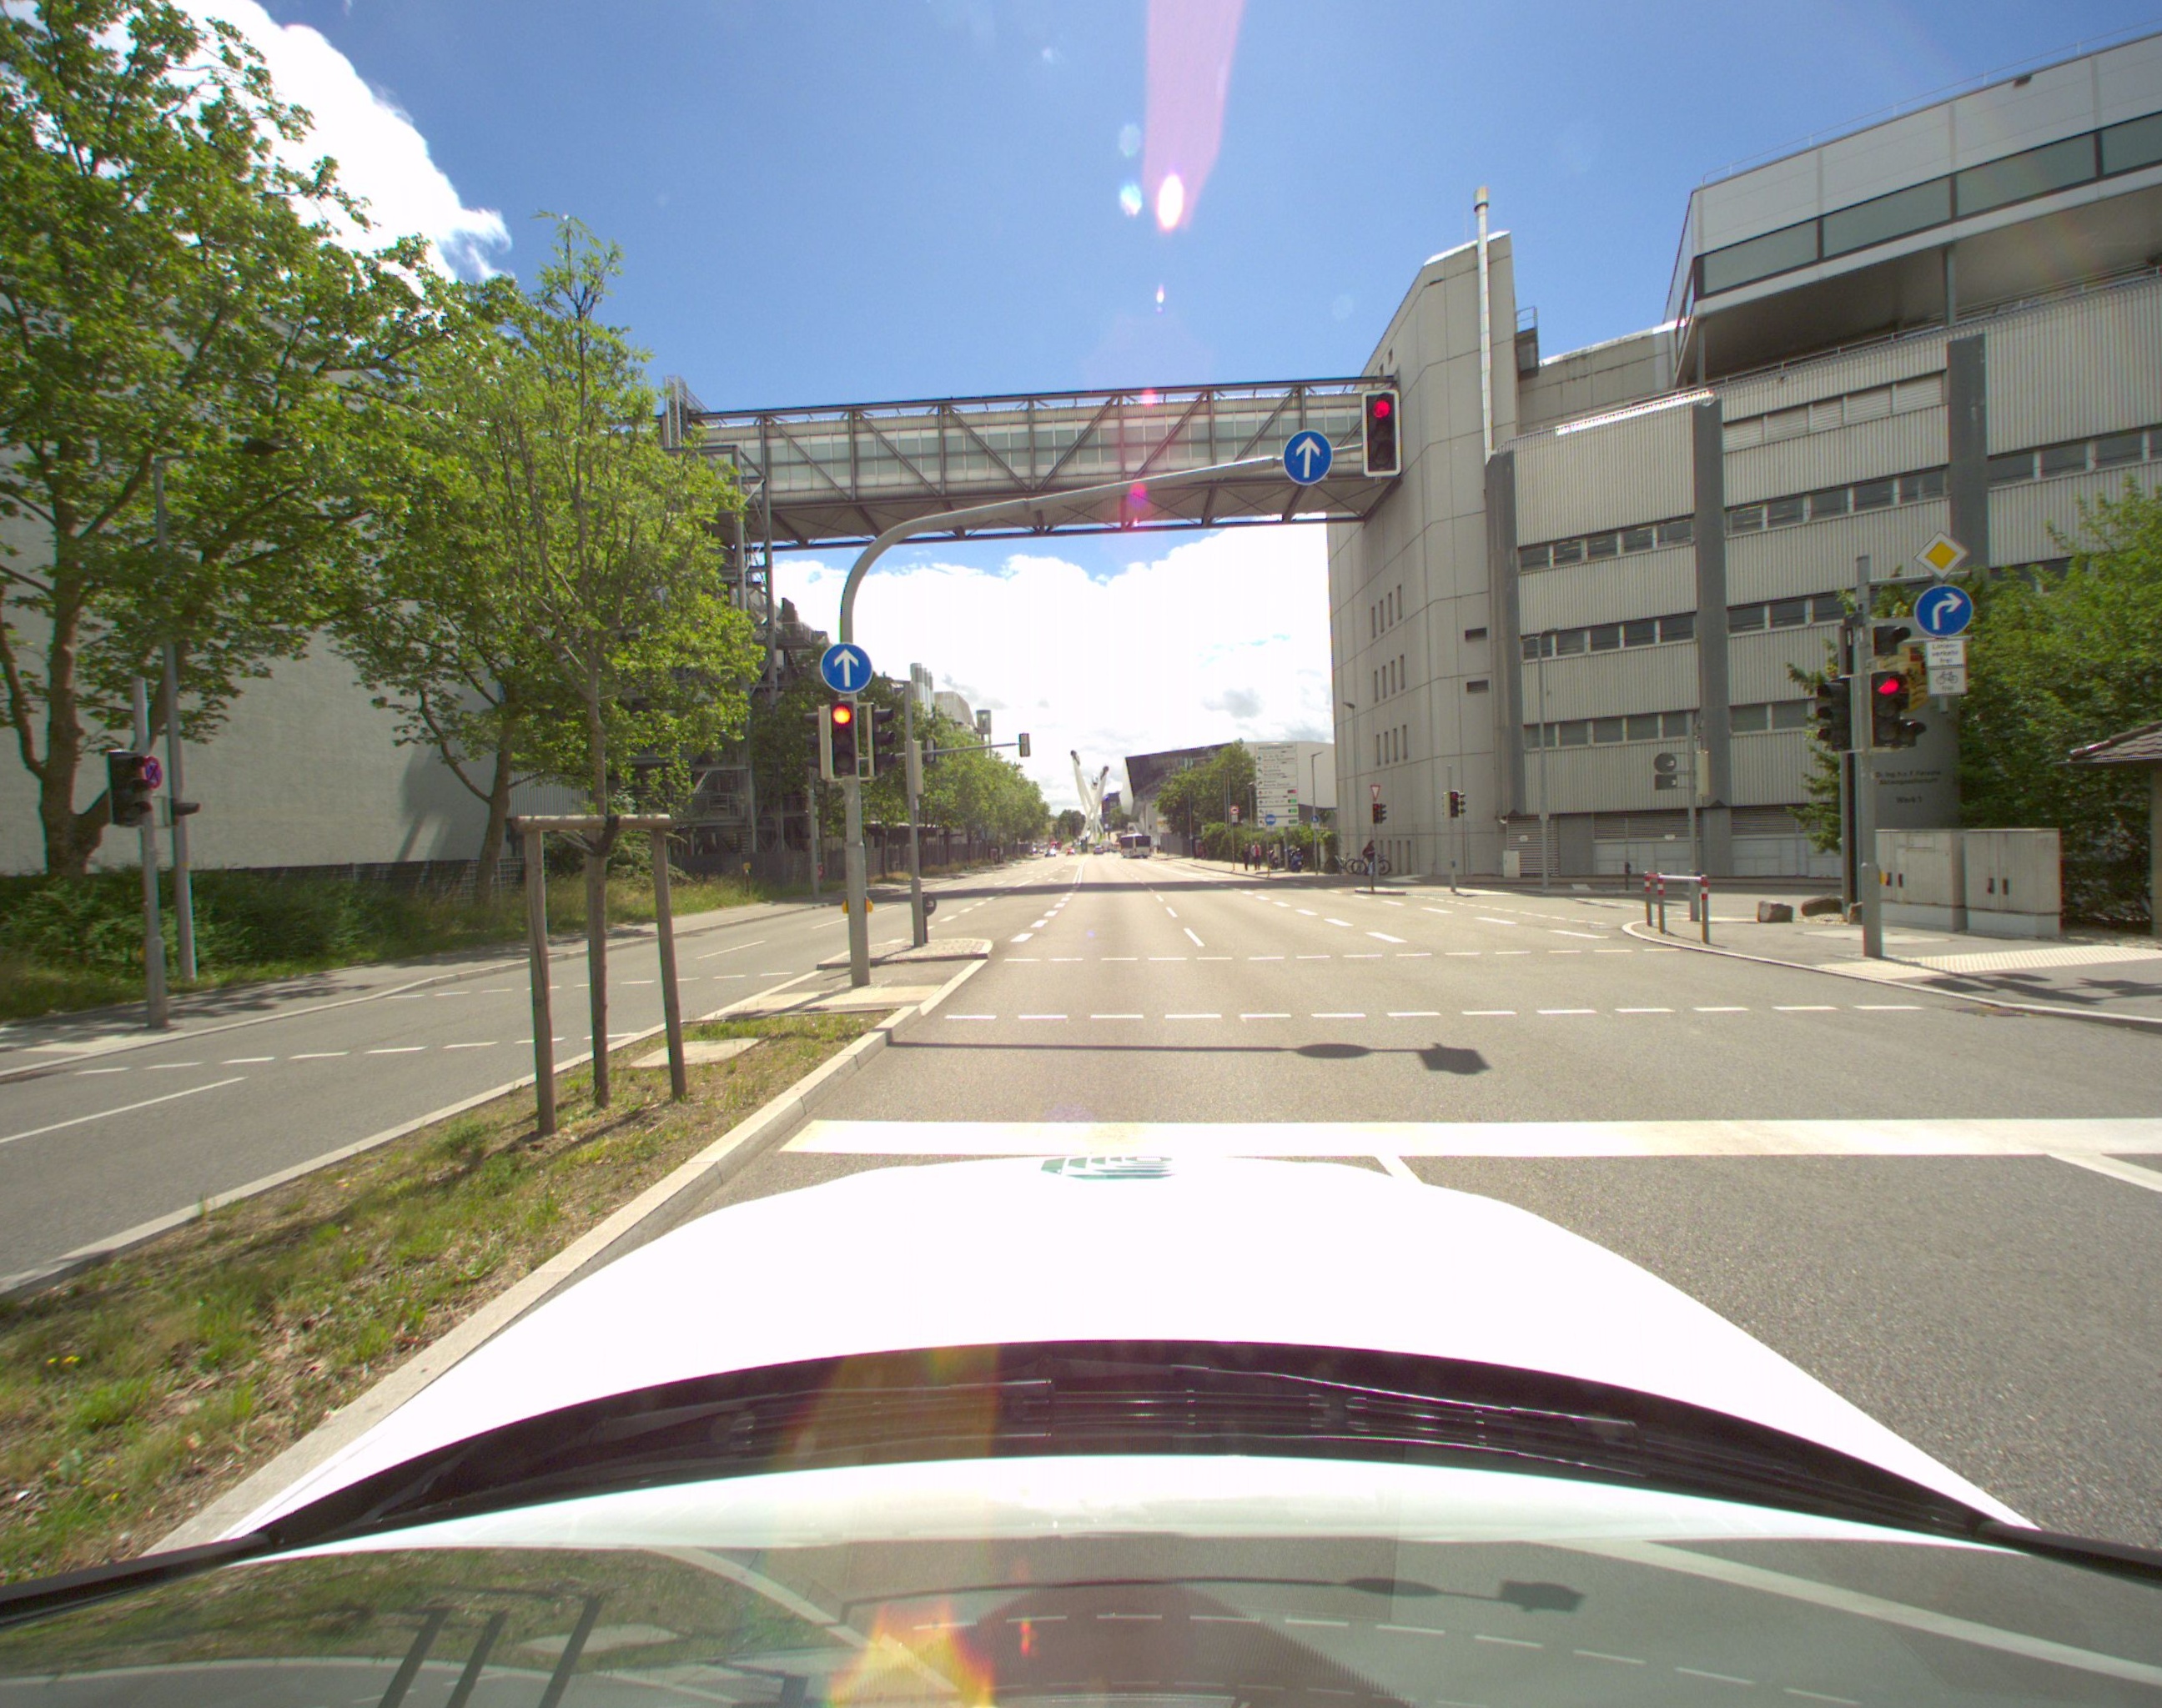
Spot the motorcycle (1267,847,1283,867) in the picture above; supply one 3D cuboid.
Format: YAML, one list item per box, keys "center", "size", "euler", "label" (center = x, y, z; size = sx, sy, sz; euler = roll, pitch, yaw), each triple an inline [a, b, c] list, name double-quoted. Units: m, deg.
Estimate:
- center: [12.538, 0.194, 52.602]
  size: [0.572, 1.203, 2.025]
  euler: [-3, 1, 2]
  label: "motorcycle"

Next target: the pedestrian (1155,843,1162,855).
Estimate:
- center: [13.222, -0.778, 138.800]
  size: [1.026, 2.014, 0.884]
  euler: [0, -1, -2]
  label: "pedestrian"

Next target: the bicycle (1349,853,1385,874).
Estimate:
- center: [13.491, 0.449, 38.498]
  size: [0.399, 0.937, 1.913]
  euler: [-1, 0, -24]
  label: "bicycle"

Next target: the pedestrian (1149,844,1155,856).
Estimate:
- center: [12.086, -0.738, 138.925]
  size: [1.026, 2.014, 0.884]
  euler: [0, -1, -2]
  label: "pedestrian"

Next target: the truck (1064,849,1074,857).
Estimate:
- center: [-2.284, -0.204, 151.995]
  size: [1.580, 1.537, 3.673]
  euler: [-1, 0, -4]
  label: "truck"

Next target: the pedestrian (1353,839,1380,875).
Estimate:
- center: [13.272, 0.136, 37.830]
  size: [0.839, 1.624, 0.962]
  euler: [-1, 0, 43]
  label: "pedestrian"

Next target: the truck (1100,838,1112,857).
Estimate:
- center: [5.324, -1.380, 172.258]
  size: [2.383, 3.897, 6.180]
  euler: [-1, 0, 2]
  label: "truck"

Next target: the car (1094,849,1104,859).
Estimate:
- center: [3.345, -0.080, 148.885]
  size: [1.732, 1.741, 3.693]
  euler: [-1, 0, 2]
  label: "car"

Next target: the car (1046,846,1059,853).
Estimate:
- center: [-7.974, -1.186, 227.101]
  size: [1.976, 2.013, 4.023]
  euler: [-1, 0, 24]
  label: "car"

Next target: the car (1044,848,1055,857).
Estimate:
- center: [-5.752, -0.304, 150.781]
  size: [1.813, 1.537, 3.678]
  euler: [-3, 0, 0]
  label: "car"

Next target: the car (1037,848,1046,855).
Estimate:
- center: [-9.529, -0.676, 196.897]
  size: [1.813, 1.537, 3.678]
  euler: [-3, 0, 0]
  label: "car"

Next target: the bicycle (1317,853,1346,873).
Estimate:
- center: [12.548, 0.450, 40.810]
  size: [0.398, 0.937, 1.917]
  euler: [-1, 0, -17]
  label: "bicycle"

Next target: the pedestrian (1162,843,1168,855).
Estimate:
- center: [14.335, -0.771, 139.028]
  size: [1.026, 2.014, 0.884]
  euler: [0, -1, -2]
  label: "pedestrian"

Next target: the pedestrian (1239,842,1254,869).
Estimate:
- center: [10.513, 0.085, 51.770]
  size: [0.817, 1.707, 0.881]
  euler: [-1, 0, 1]
  label: "pedestrian"

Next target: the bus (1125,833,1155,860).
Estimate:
- center: [8.313, -1.058, 116.051]
  size: [3.441, 3.543, 10.606]
  euler: [-1, 0, 0]
  label: "bus"

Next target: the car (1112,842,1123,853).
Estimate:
- center: [7.430, -1.272, 165.671]
  size: [1.984, 2.014, 4.006]
  euler: [-1, -1, 6]
  label: "car"

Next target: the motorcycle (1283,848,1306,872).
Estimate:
- center: [11.716, 0.321, 44.756]
  size: [0.703, 1.203, 2.025]
  euler: [-3, 1, 2]
  label: "motorcycle"

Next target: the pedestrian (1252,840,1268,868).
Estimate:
- center: [11.346, -0.016, 51.619]
  size: [0.817, 1.741, 0.637]
  euler: [-1, 0, 1]
  label: "pedestrian"
